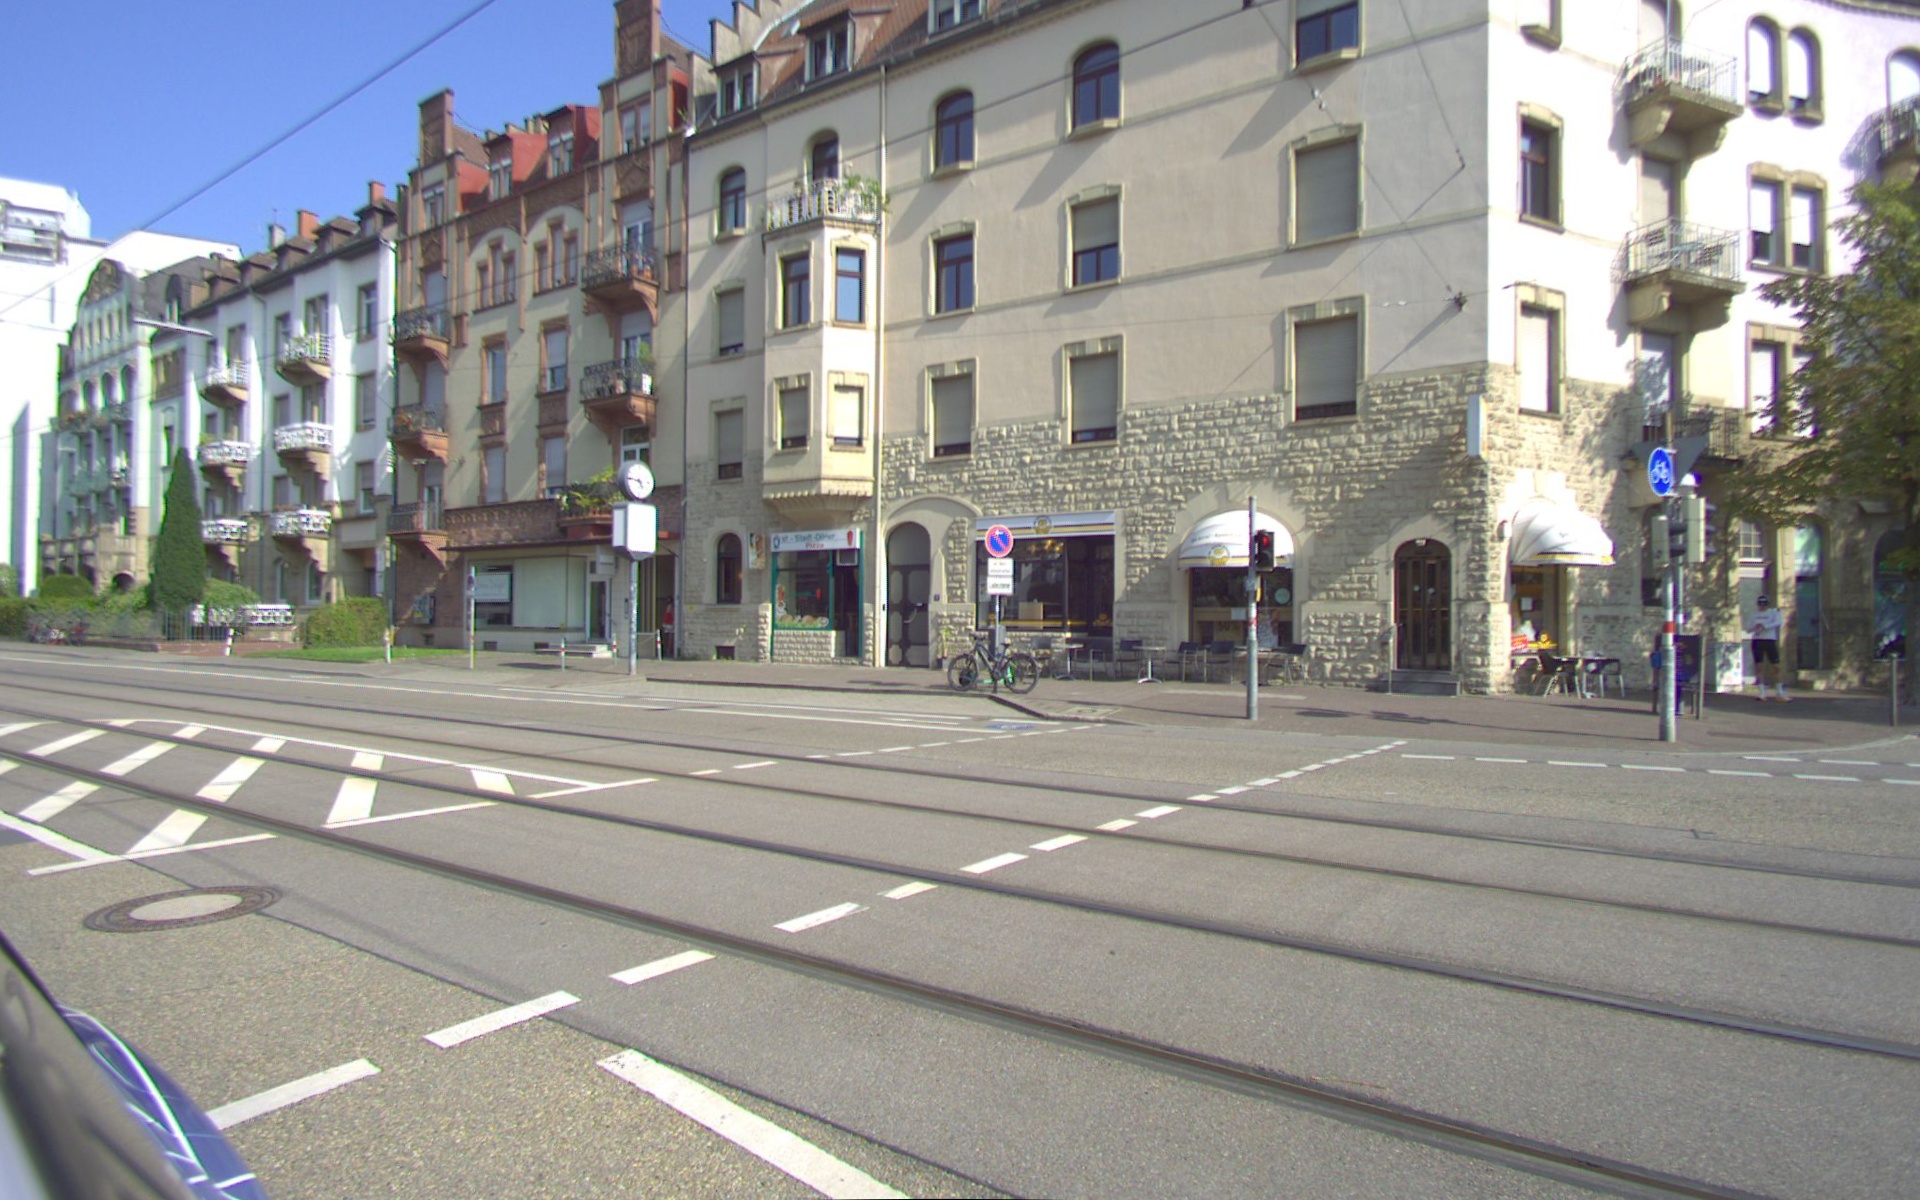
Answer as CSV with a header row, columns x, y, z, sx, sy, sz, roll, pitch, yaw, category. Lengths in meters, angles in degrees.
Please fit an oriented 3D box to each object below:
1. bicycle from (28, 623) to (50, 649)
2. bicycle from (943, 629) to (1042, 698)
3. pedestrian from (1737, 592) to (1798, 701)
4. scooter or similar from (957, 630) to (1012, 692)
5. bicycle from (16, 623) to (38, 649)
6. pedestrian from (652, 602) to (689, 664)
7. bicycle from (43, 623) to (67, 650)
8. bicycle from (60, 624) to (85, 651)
x,y,z,sx,sy,sz,roll,pitch,yaw,category
-39.116,1.523,42.975,1.351,1.096,0.367,-1,-2,33,bicycle
0.602,1.178,19.034,1.846,1.236,0.451,0,-2,25,bicycle
14.521,0.819,18.220,0.774,1.907,0.884,-1,-2,34,pedestrian
0.476,1.187,19.812,1.017,1.206,0.367,0,-1,-12,scooter or similar
-40.552,1.551,44.004,1.351,1.096,0.367,-1,-2,33,bicycle
-8.853,0.994,30.979,0.769,1.874,0.826,0,-1,17,pedestrian
-36.928,1.497,41.295,1.351,1.096,0.367,-1,-2,33,bicycle
-35.413,1.488,40.377,1.483,1.096,0.367,-1,-2,33,bicycle
